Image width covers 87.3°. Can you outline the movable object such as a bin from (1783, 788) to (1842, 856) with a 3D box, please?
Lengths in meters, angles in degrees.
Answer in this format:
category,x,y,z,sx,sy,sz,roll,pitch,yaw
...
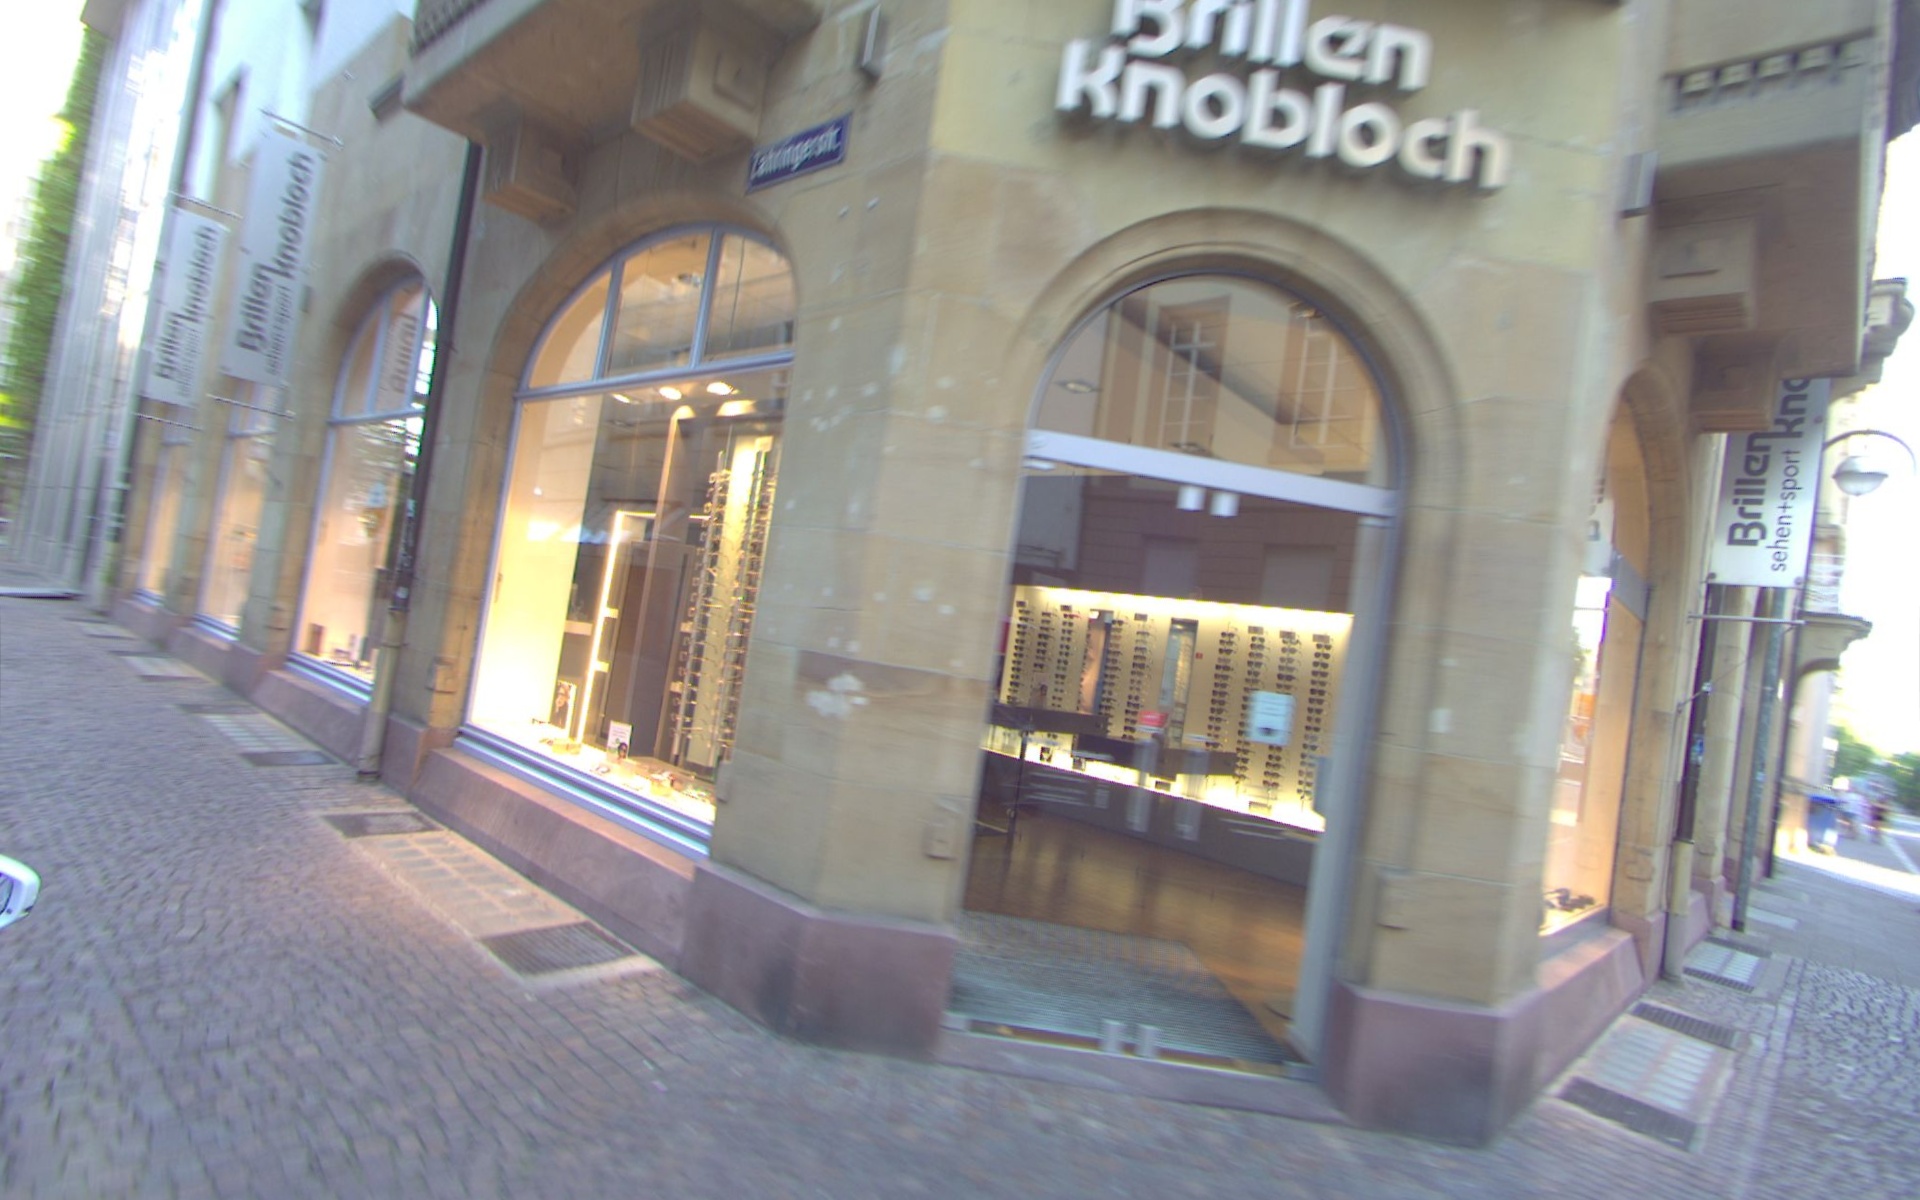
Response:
category,x,y,z,sx,sy,sz,roll,pitch,yaw
movable object such as a bin,20.513,5.329,24.215,0.886,1.390,1.134,10,-1,41

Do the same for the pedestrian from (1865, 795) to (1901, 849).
category,x,y,z,sx,sy,sz,roll,pitch,yaw
pedestrian,31.483,7.559,34.331,0.639,1.671,0.756,11,0,40

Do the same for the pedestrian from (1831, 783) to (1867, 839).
category,x,y,z,sx,sy,sz,roll,pitch,yaw
pedestrian,30.846,7.307,34.925,0.639,1.799,0.756,11,0,40

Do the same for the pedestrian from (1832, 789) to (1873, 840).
category,x,y,z,sx,sy,sz,roll,pitch,yaw
pedestrian,31.995,7.680,36.077,0.844,1.616,0.921,11,0,40
